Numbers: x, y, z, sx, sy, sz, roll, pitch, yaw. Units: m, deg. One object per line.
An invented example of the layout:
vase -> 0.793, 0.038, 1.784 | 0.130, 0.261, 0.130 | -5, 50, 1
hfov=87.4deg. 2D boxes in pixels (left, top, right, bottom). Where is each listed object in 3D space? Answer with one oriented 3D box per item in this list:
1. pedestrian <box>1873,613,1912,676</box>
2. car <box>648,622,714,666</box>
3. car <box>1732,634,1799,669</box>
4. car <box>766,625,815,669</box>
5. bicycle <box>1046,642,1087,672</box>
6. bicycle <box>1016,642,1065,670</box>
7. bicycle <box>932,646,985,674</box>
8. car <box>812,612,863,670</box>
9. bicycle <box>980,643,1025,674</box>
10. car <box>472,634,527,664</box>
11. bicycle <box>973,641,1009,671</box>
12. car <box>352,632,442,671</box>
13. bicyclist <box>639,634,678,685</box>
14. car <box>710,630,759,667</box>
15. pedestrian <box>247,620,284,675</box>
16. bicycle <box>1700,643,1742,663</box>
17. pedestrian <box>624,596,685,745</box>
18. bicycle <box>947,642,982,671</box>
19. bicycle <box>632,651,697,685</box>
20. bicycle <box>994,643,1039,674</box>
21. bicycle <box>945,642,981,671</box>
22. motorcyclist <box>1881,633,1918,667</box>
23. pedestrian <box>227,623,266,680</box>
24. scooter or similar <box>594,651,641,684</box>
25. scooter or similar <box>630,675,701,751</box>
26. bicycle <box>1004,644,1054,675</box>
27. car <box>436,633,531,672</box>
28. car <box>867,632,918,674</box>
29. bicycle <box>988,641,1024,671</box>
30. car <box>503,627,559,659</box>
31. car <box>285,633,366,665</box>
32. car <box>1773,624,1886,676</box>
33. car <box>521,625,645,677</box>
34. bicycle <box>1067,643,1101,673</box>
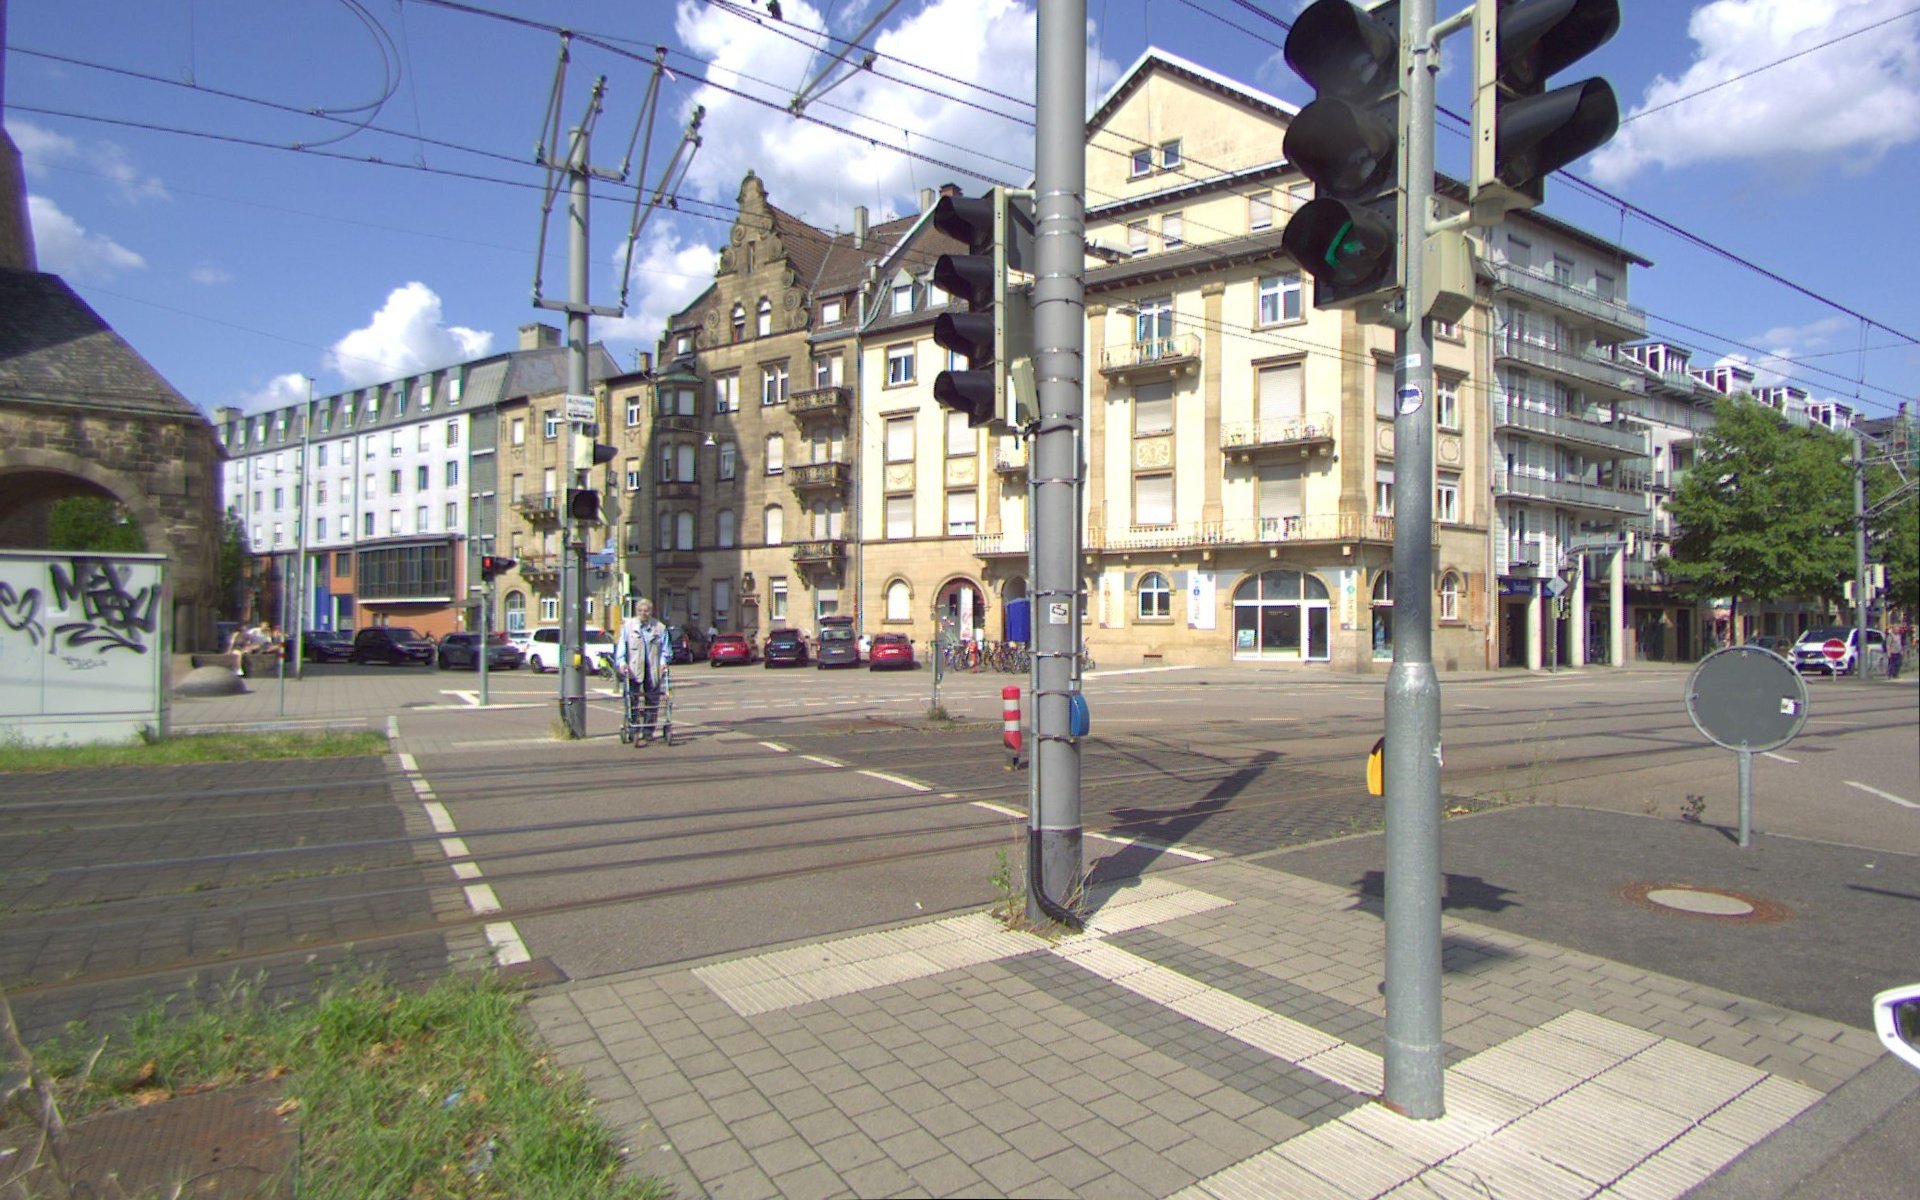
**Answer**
pedestrian -> 30.490, 1.454, 32.850 | 0.695, 2.040, 0.735 | 1, -1, -27
car -> -13.281, 2.068, 48.029 | 1.878, 1.849, 4.001 | -1, 0, 2
car -> 45.165, 2.845, 56.292 | 3.958, 1.813, 1.835 | 1, 0, -34
car -> -7.427, 2.034, 44.263 | 1.678, 1.691, 3.997 | -1, 0, -4
bicycle -> 4.053, 2.138, 38.133 | 0.601, 1.032, 1.867 | -1, 0, 41
bicycle -> 3.154, 2.182, 39.458 | 1.897, 1.032, 0.538 | -1, 1, 36
bicycle -> -0.072, 2.253, 37.687 | 1.890, 1.032, 0.540 | -1, 1, 16
car -> -5.175, 1.700, 42.912 | 1.930, 2.111, 3.997 | -1, 3, -4
bicycle -> 1.621, 2.217, 38.348 | 1.915, 1.032, 0.533 | -2, 1, -44
car -> -25.522, 2.685, 55.797 | 1.575, 1.415, 3.571 | -1, 0, -4
bicycle -> 1.235, 2.221, 40.039 | 0.531, 1.032, 1.924 | -1, 1, 31
car -> -24.647, 2.234, 43.947 | 4.001, 1.617, 1.699 | -1, -2, 32
bicyclist -> -9.440, 1.842, 31.486 | 0.905, 1.524, 0.651 | -1, 4, 29
car -> -10.332, 2.186, 46.205 | 1.882, 1.463, 3.994 | -1, 0, -9
pedestrian -> -18.855, 1.290, 27.275 | 0.507, 1.425, 0.559 | 6, 1, 11
bicycle -> 39.255, 2.712, 51.840 | 0.492, 0.999, 1.678 | 1, -2, -35
pedestrian -> -3.718, 0.840, 12.229 | 0.552, 1.755, 0.522 | 1, -2, -38
bicycle -> 0.174, 2.202, 39.303 | 0.530, 1.032, 1.925 | -1, 1, 28
bicycle -> -9.254, 2.123, 31.405 | 2.095, 1.002, 0.651 | -1, -2, 29
bicycle -> 2.164, 2.201, 38.110 | 1.915, 1.032, 0.533 | -1, 0, -44
bicycle -> 0.127, 2.240, 40.388 | 0.531, 1.032, 1.924 | -1, 1, 31
motorcyclist -> 40.019, 2.120, 42.786 | 1.076, 1.422, 0.889 | 1, -2, -32
pedestrian -> -18.969, 1.367, 26.717 | 0.507, 1.425, 0.559 | 6, 1, 11
scooter or similar -> -10.913, 2.145, 32.030 | 1.110, 0.990, 0.889 | -1, -2, 28
scooter or similar -> -3.494, 1.318, 11.905 | 0.548, 0.815, 0.832 | 1, -2, -37
bicycle -> 2.585, 2.209, 37.455 | 1.856, 1.032, 0.597 | -1, 0, -32
car -> -18.912, 2.052, 39.815 | 3.671, 1.469, 1.671 | -1, -2, 32
car -> -2.745, 2.109, 41.001 | 1.930, 1.460, 3.998 | -1, 0, -4
bicycle -> 1.822, 2.201, 39.695 | 0.531, 1.032, 1.924 | -1, 1, 31
car -> -23.056, 2.305, 54.065 | 1.575, 1.520, 3.773 | -1, 0, -4
car -> -29.657, 2.260, 46.939 | 3.794, 1.409, 1.699 | -1, -2, 32
car -> 34.216, 1.916, 39.490 | 5.115, 1.916, 1.982 | 1, -2, -33
car -> -13.779, 1.820, 36.628 | 4.582, 1.763, 1.811 | -1, -2, 32
bicycle -> 4.665, 2.155, 37.653 | 0.599, 1.032, 1.873 | -1, 0, 29
